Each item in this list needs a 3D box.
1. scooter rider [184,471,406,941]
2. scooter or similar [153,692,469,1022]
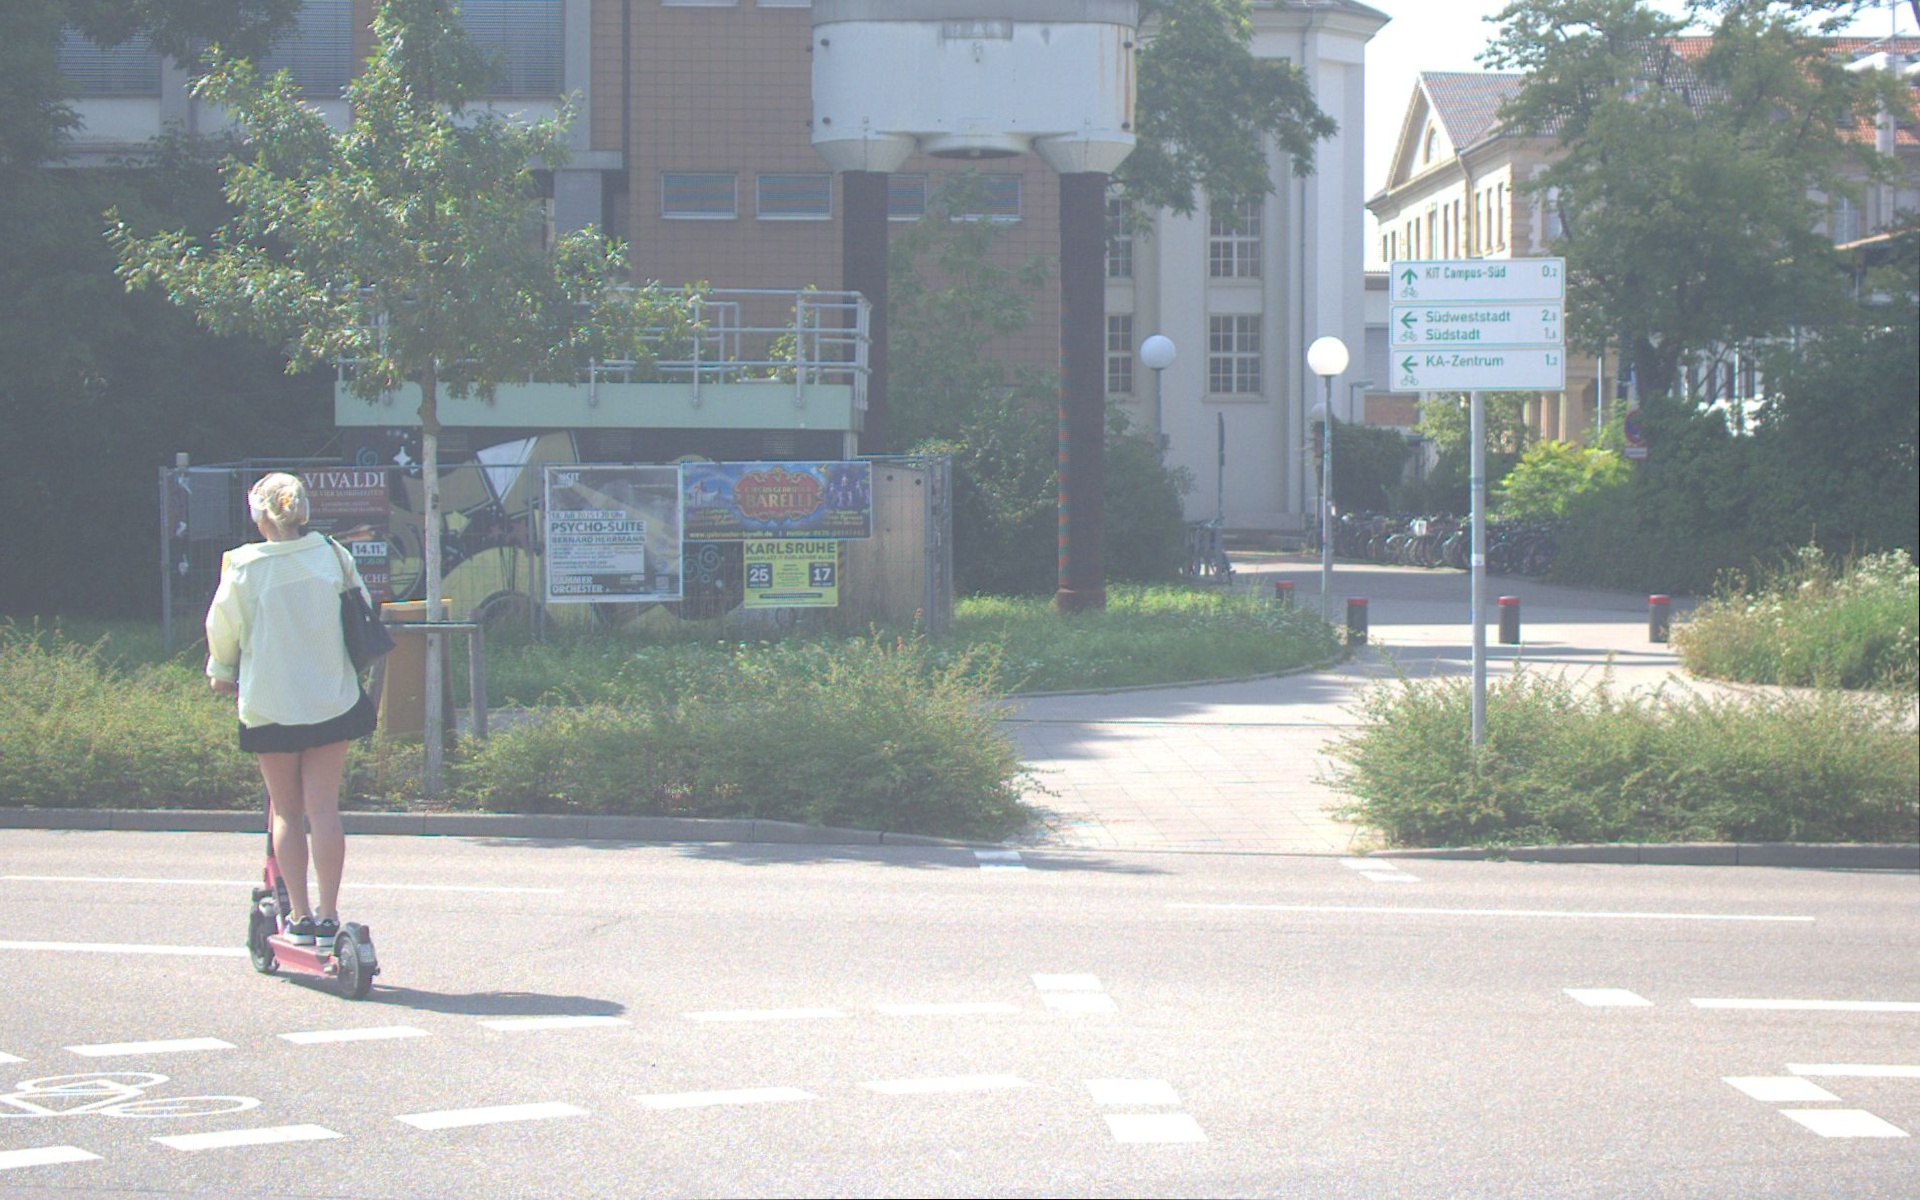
[{"bbox_3d":[-2.474,0.380,12.780,0.670,1.694,0.539,0,0,-29],"label":"scooter rider"},{"bbox_3d":[-2.431,0.900,12.704,0.556,1.056,2.004,0,0,-28],"label":"scooter or similar"}]
